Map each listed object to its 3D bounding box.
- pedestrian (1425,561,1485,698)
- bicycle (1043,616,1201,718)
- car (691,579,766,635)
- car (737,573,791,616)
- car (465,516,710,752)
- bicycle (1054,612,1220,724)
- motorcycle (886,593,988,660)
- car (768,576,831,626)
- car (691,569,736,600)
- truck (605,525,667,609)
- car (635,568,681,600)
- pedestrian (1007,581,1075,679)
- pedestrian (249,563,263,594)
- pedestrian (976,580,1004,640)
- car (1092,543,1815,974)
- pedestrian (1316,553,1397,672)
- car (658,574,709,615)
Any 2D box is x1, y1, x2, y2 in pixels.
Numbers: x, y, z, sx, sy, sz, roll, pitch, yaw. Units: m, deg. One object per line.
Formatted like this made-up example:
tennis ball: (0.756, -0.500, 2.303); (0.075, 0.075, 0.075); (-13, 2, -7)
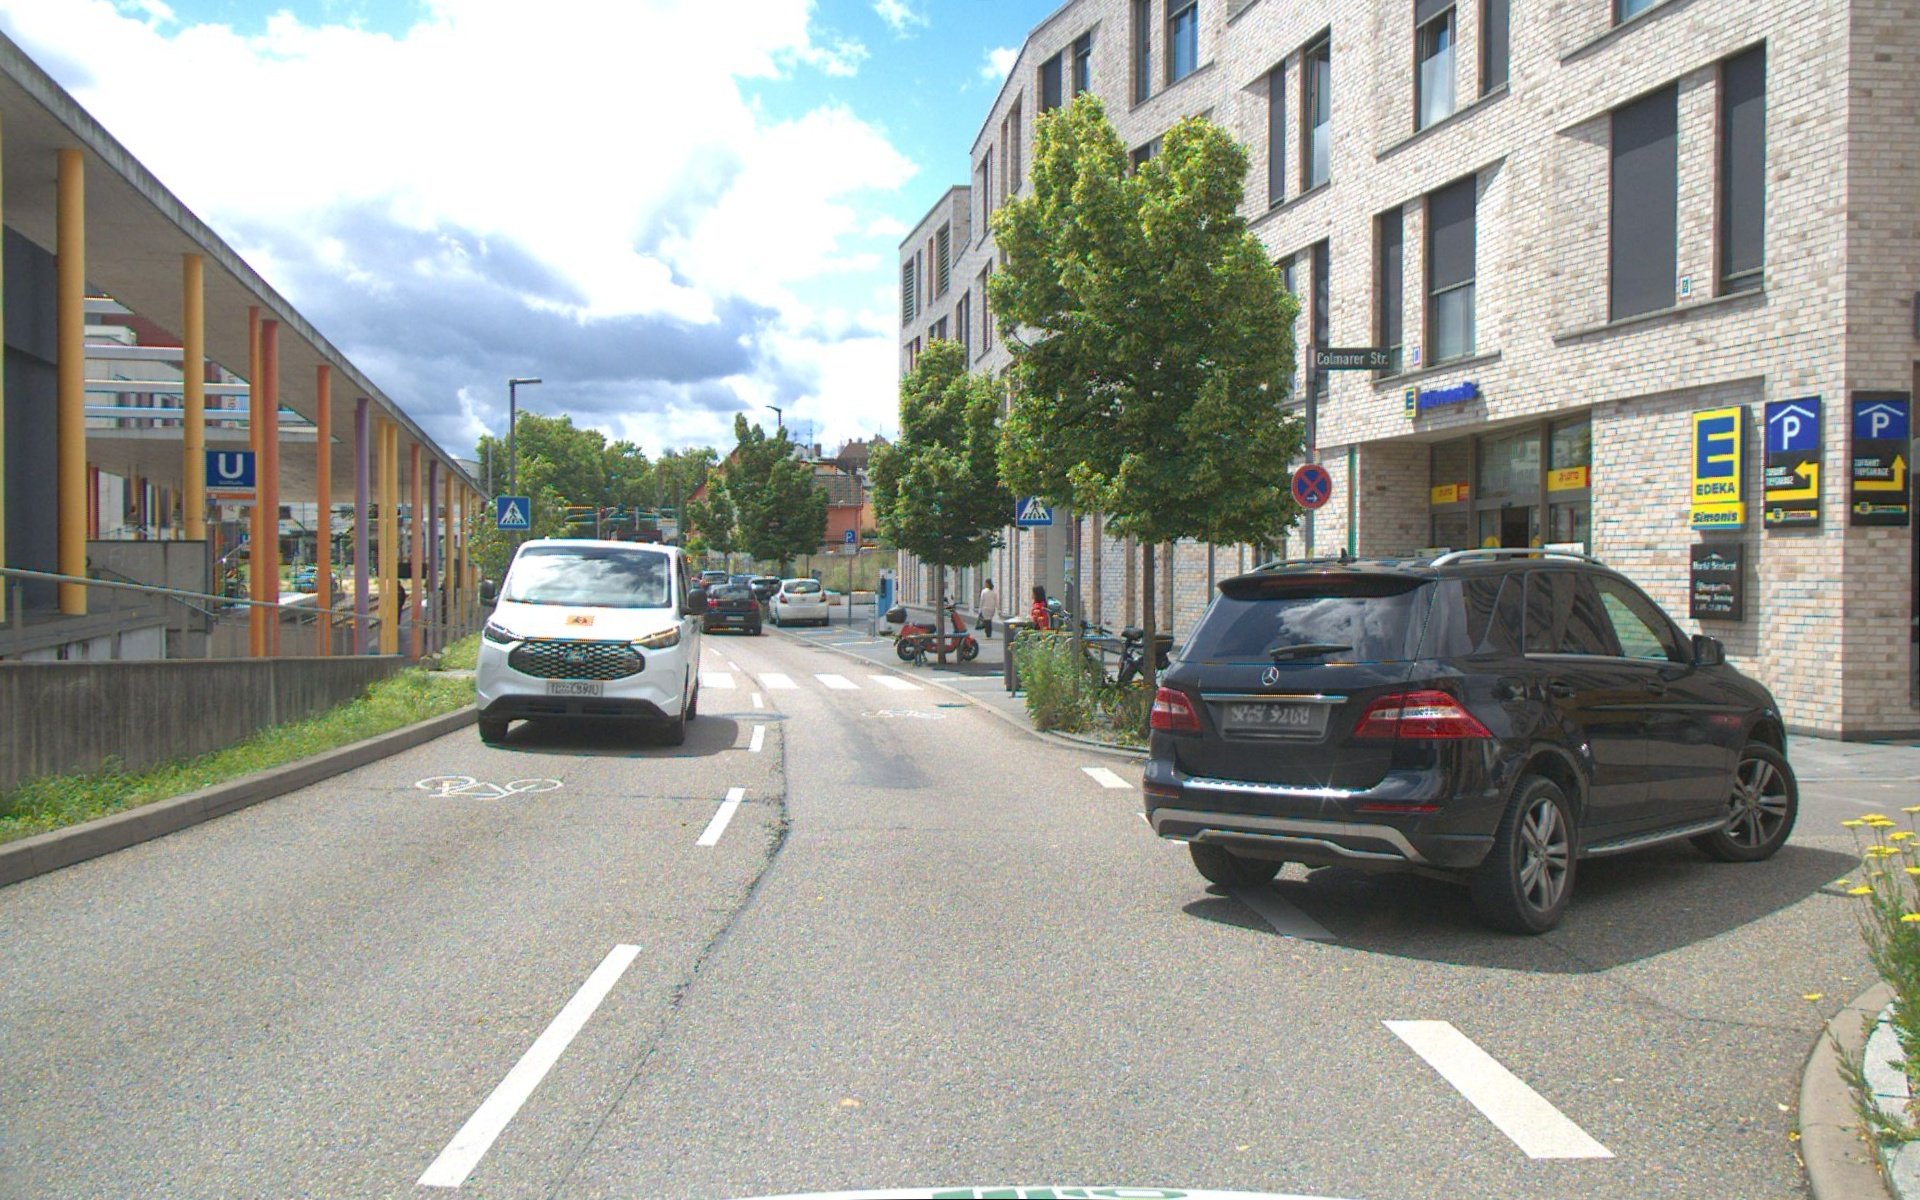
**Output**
pedestrian: (6.374, 0.370, 21.290); (0.645, 1.722, 0.631); (0, 0, 27)
bicycle: (1.960, 0.800, 20.132); (1.788, 1.151, 0.755); (-1, 0, -7)
car: (-6.822, 0.165, 48.527); (1.698, 1.482, 3.793); (-1, 2, -15)
car: (-7.513, -0.238, 63.249); (1.663, 1.486, 4.135); (-2, 2, -12)
car: (-3.713, 0.288, 17.413); (1.956, 2.049, 5.385); (2, 0, -8)
bicycle: (2.051, 0.778, 19.307); (1.788, 1.222, 0.755); (-1, 0, -7)
motorcycle: (-0.463, 0.544, 33.842); (2.007, 1.288, 0.673); (-2, 0, 4)
car: (-5.288, -0.009, 54.144); (1.663, 1.509, 3.787); (-2, 2, -11)
car: (-12.496, -0.798, 83.779); (1.752, 1.477, 4.458); (-2, 2, -15)
truck: (-19.067, -1.825, 96.961); (3.148, 4.615, 8.996); (1, 0, -14)
car: (-14.616, -0.781, 79.967); (1.857, 1.491, 4.052); (-1, 1, -15)
pedestrian: (1.341, 0.496, 27.502); (0.912, 1.592, 0.812); (1, -1, -15)
pedestrian: (-42.222, -1.294, 99.235); (0.631, 1.839, 0.591); (1, -1, -14)
pedestrian: (0.762, 0.248, 42.346); (0.595, 1.498, 0.790); (-1, 1, -5)
car: (2.938, 0.613, 9.186); (1.967, 1.777, 4.500); (-1, 1, 45)
pedestrian: (5.999, 0.175, 25.039); (0.998, 1.772, 0.657); (-1, 0, -17)
car: (-10.450, -0.236, 62.375); (1.682, 1.417, 3.797); (-1, 2, -13)
